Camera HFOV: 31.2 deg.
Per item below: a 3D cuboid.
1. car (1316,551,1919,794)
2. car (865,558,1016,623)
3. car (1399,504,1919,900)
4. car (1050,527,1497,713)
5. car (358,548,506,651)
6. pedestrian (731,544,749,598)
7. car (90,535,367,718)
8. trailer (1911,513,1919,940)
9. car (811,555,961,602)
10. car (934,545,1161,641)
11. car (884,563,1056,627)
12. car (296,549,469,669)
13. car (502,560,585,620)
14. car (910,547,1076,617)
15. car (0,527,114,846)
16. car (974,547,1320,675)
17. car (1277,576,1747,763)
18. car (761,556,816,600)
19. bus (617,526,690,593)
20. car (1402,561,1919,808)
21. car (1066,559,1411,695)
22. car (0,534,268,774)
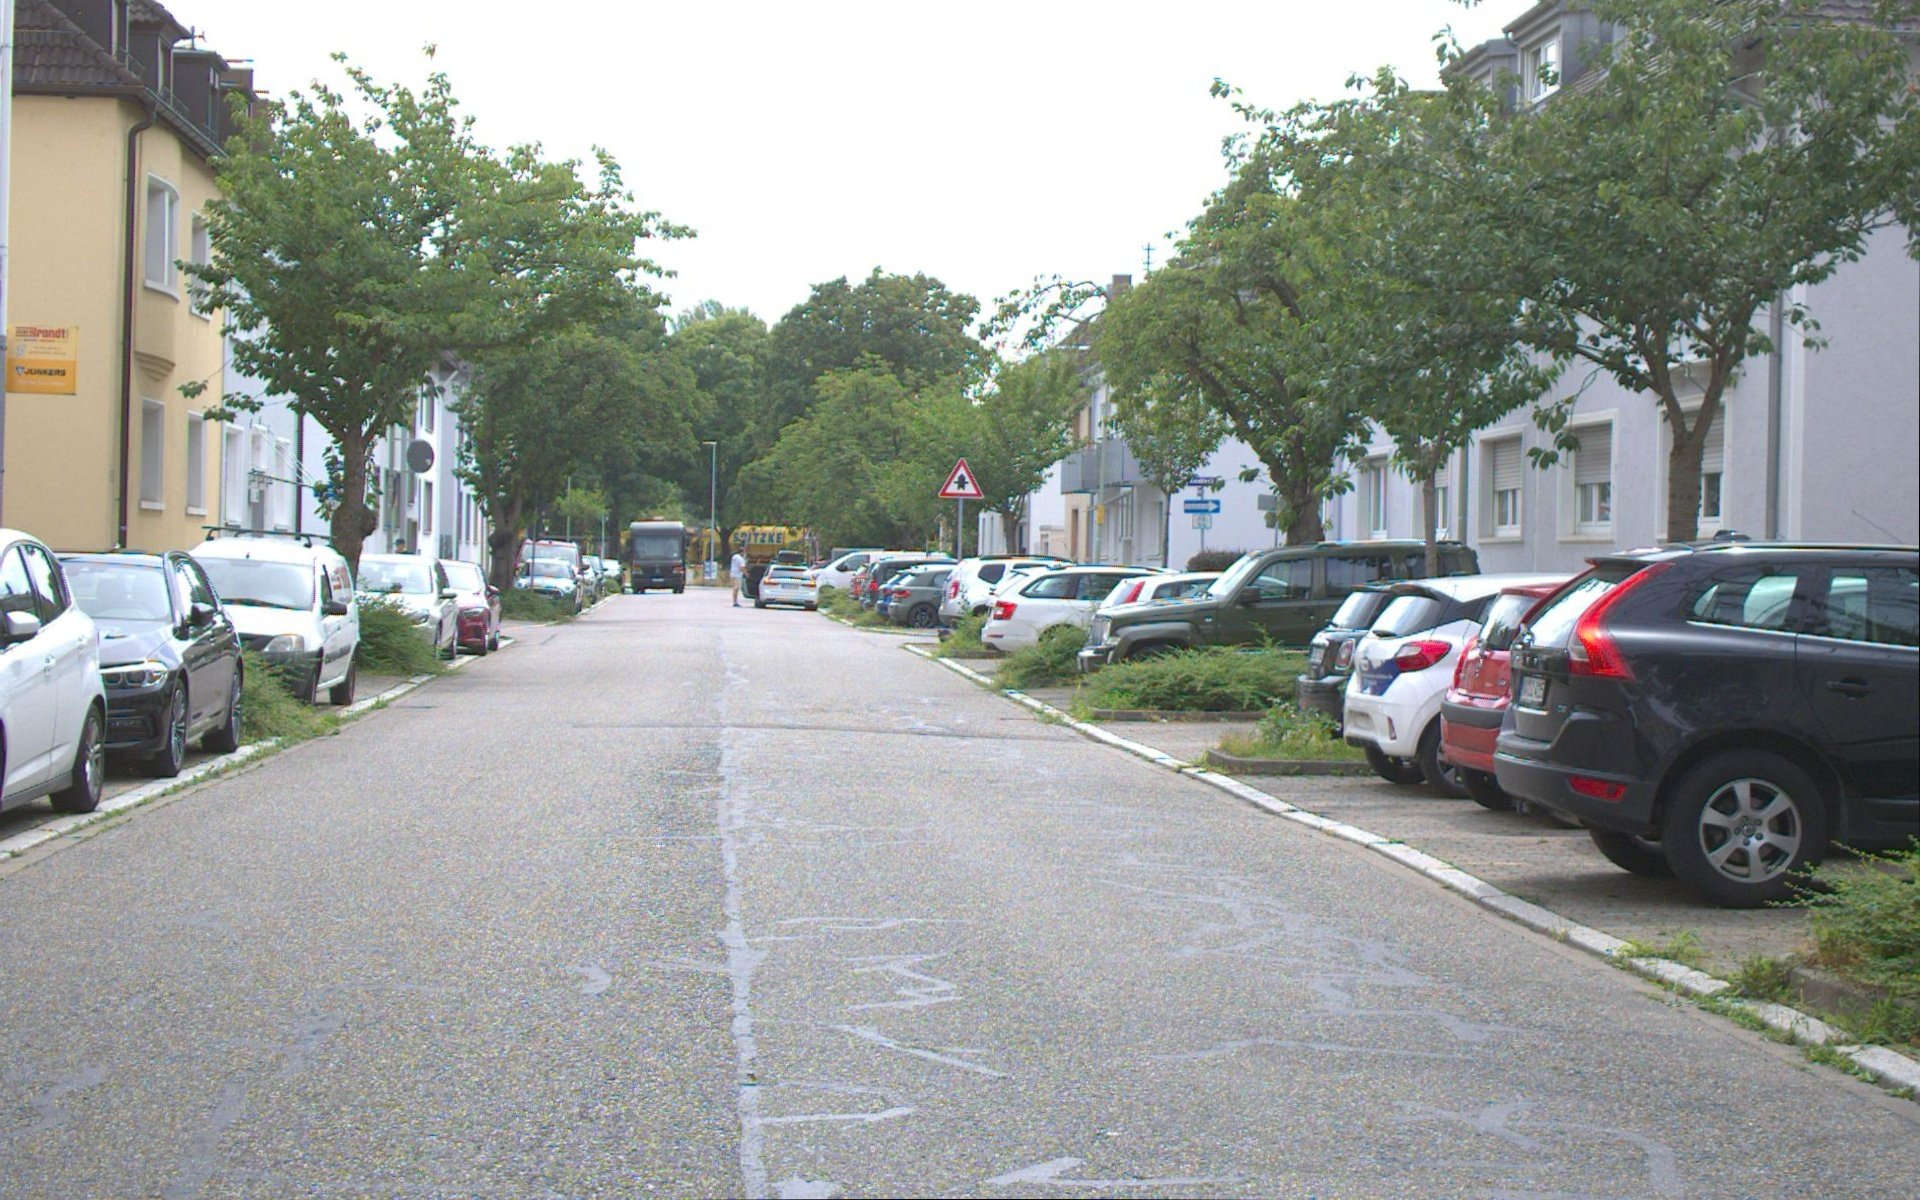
[{"bbox_3d":[4.605,0.464,23.566,3.986,1.525,1.768,-1,0,-7],"label":"car"},{"bbox_3d":[-0.509,-0.246,87.799,3.747,1.559,1.773,-1,0,-3],"label":"car"},{"bbox_3d":[4.350,0.427,16.340,4.214,1.730,1.904,-1,0,-2],"label":"car"},{"bbox_3d":[3.285,0.195,36.580,4.525,1.852,1.793,-1,0,-1],"label":"car"},{"bbox_3d":[-8.114,-0.027,53.156,1.877,1.481,4.513,-1,1,-4],"label":"car"},{"bbox_3d":[-6.934,-0.912,108.245,0.522,1.698,0.444,-1,0,0],"label":"pedestrian"},{"bbox_3d":[-6.817,0.217,32.466,1.918,1.576,4.383,-1,1,-4],"label":"car"},{"bbox_3d":[5.578,0.521,14.046,2.960,1.825,1.401,-1,0,0],"label":"trailer"},{"bbox_3d":[-2.555,-0.747,117.576,4.974,1.513,1.769,-1,0,-6],"label":"car"},{"bbox_3d":[1.550,-0.131,61.887,3.923,1.627,1.868,-1,0,-3],"label":"car"},{"bbox_3d":[0.204,-0.126,77.480,3.747,1.361,1.773,-1,0,-3],"label":"car"},{"bbox_3d":[-7.970,0.102,47.749,1.771,1.387,4.275,7,0,-3],"label":"car"},{"bbox_3d":[-11.063,-0.277,91.519,1.763,1.549,3.731,-1,1,-1],"label":"car"},{"bbox_3d":[0.760,-0.418,80.372,3.747,1.559,1.773,-1,0,-3],"label":"car"},{"bbox_3d":[-5.613,0.405,17.686,1.757,1.551,4.256,0,0,-4],"label":"car"},{"bbox_3d":[2.569,0.137,47.929,4.614,1.658,1.893,-1,0,-3],"label":"car"},{"bbox_3d":[4.575,0.554,28.816,3.542,1.448,1.809,-1,0,-5],"label":"car"},{"bbox_3d":[-5.449,-0.701,109.103,1.687,1.349,3.827,-1,1,-3],"label":"car"},{"bbox_3d":[-13.171,-1.718,148.389,3.003,2.752,8.925,-1,1,-4],"label":"bus"},{"bbox_3d":[4.921,0.479,21.349,3.986,1.405,1.768,-1,0,-7],"label":"car"},{"bbox_3d":[3.172,0.291,39.514,3.624,1.449,1.773,-1,0,-8],"label":"car"},{"bbox_3d":[-6.082,0.327,24.027,1.790,1.487,4.813,2,0,-4],"label":"car"}]
